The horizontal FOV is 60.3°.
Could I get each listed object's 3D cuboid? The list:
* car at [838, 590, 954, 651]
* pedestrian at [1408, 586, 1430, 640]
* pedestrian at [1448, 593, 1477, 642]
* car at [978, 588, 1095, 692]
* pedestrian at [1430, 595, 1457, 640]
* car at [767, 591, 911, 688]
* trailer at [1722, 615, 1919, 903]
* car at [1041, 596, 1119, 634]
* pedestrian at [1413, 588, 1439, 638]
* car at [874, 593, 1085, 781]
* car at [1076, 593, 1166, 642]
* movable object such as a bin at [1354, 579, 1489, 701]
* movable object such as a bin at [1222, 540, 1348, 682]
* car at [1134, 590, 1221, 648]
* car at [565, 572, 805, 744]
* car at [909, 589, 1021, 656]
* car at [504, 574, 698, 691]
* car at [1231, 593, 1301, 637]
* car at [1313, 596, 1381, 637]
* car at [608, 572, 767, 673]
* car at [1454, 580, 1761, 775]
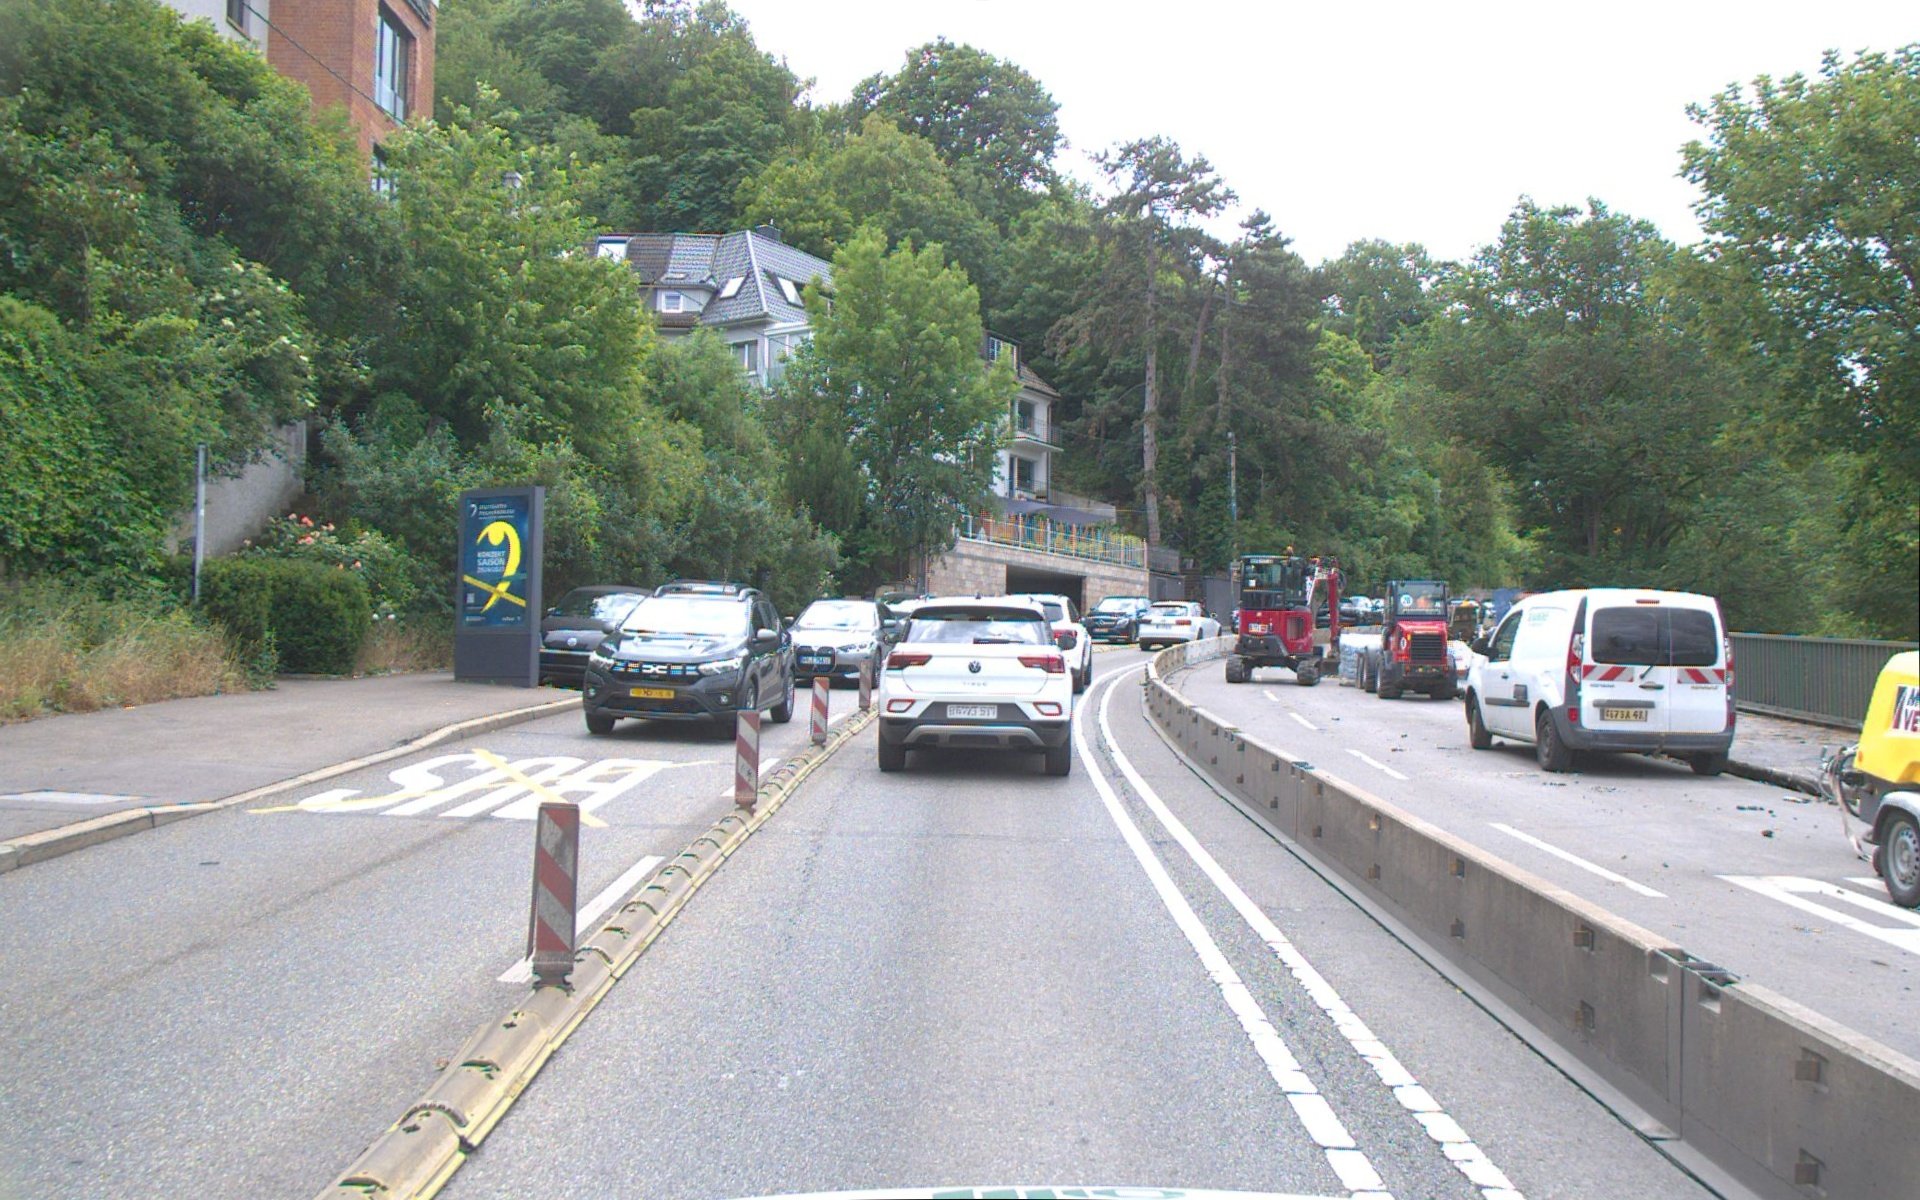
[{"bbox_3d":[-1.694,0.536,45.428,1.699,1.476,4.686,4,1,16],"label":"car"},{"bbox_3d":[16.764,0.472,60.454,0.675,1.940,0.826,0,0,9],"label":"pedestrian"},{"bbox_3d":[18.056,0.622,59.438,0.770,1.717,0.782,0,0,37],"label":"pedestrian"},{"bbox_3d":[1.414,0.659,29.233,1.771,1.692,4.003,0,0,7],"label":"car"},{"bbox_3d":[17.665,0.638,60.384,0.769,1.636,0.664,0,0,37],"label":"pedestrian"},{"bbox_3d":[-2.044,0.665,29.189,1.757,1.508,4.331,2,0,6],"label":"car"},{"bbox_3d":[5.855,0.877,9.800,1.261,1.501,3.636,1,0,5],"label":"trailer"},{"bbox_3d":[5.091,0.645,69.878,1.749,1.478,3.693,1,-1,31],"label":"car"},{"bbox_3d":[17.595,0.485,62.391,0.858,1.854,0.878,0,0,21],"label":"pedestrian"},{"bbox_3d":[0.155,0.732,16.066,1.773,1.558,4.000,1,0,0],"label":"car"},{"bbox_3d":[5.564,0.581,56.687,1.732,1.595,4.226,2,0,25],"label":"car"},{"bbox_3d":[8.151,0.649,29.520,1.665,1.977,4.168,1,0,7],"label":"movable object such as a bin"},{"bbox_3d":[6.860,0.203,34.511,2.165,2.709,4.948,1,0,16],"label":"movable object such as a bin"},{"bbox_3d":[6.695,0.551,50.690,1.772,1.692,4.000,0,0,21],"label":"car"},{"bbox_3d":[-2.935,0.579,18.468,1.777,1.650,3.821,2,0,3],"label":"car"},{"bbox_3d":[0.183,0.526,41.895,1.757,1.471,4.366,2,2,15],"label":"car"},{"bbox_3d":[-5.374,0.457,25.278,1.757,1.536,4.002,3,0,4],"label":"car"},{"bbox_3d":[11.278,0.529,60.833,1.757,1.537,4.000,0,0,22],"label":"car"},{"bbox_3d":[16.359,0.669,69.819,1.776,1.692,3.993,0,0,29],"label":"car"},{"bbox_3d":[-4.950,0.395,30.586,1.651,1.634,4.190,3,0,8],"label":"car"},{"bbox_3d":[6.751,0.720,17.752,1.794,1.811,4.270,1,0,3],"label":"car"}]
